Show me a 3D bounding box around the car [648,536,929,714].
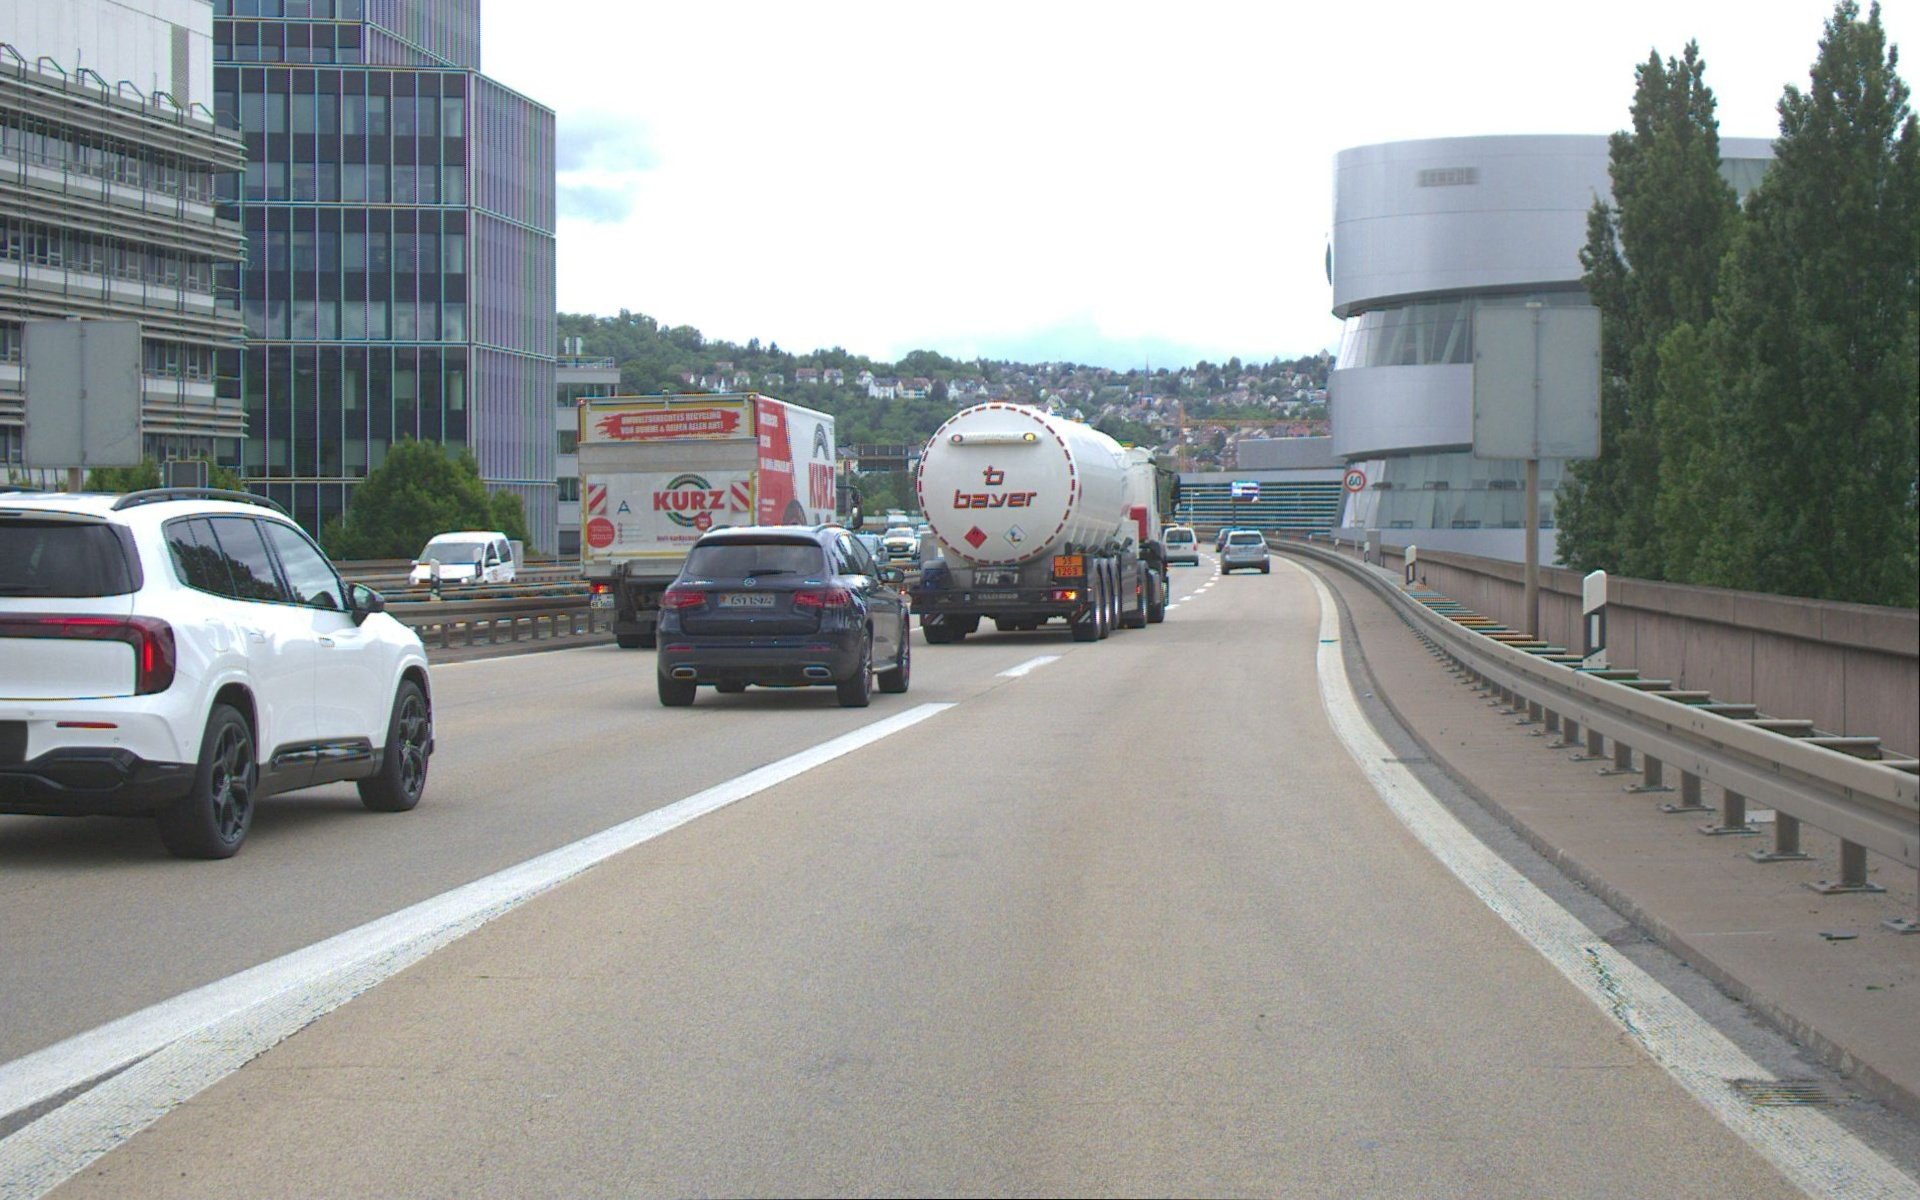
[{"bbox_3d":[-1.501,0.188,31.730,1.847,1.499,4.264,1,1,7],"label":"car"}]

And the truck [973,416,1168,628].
[{"bbox_3d":[2.006,-1.349,59.789,2.770,3.418,5.964,-1,1,7],"label":"truck"}]

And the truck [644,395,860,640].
[{"bbox_3d":[-3.254,-1.311,54.876,2.691,3.677,4.438,-1,1,6],"label":"truck"}]

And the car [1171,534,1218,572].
[{"bbox_3d":[11.027,-2.199,161.617,1.994,1.533,3.999,5,0,3],"label":"car"}]

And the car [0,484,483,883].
[{"bbox_3d":[-4.053,0.303,17.097,1.994,1.663,4.890,2,1,8],"label":"car"}]

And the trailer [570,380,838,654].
[{"bbox_3d":[-3.643,-1.208,50.734,2.691,3.677,7.312,-1,1,5],"label":"trailer"}]

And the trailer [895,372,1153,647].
[{"bbox_3d":[1.192,-1.362,53.051,2.792,3.724,11.153,-1,1,7],"label":"trailer"}]

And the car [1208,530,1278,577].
[{"bbox_3d":[10.993,-1.793,133.193,1.995,1.532,3.997,6,1,13],"label":"car"}]

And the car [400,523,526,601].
[{"bbox_3d":[-11.470,-0.904,79.610,1.867,1.706,4.601,-1,1,5],"label":"car"}]
